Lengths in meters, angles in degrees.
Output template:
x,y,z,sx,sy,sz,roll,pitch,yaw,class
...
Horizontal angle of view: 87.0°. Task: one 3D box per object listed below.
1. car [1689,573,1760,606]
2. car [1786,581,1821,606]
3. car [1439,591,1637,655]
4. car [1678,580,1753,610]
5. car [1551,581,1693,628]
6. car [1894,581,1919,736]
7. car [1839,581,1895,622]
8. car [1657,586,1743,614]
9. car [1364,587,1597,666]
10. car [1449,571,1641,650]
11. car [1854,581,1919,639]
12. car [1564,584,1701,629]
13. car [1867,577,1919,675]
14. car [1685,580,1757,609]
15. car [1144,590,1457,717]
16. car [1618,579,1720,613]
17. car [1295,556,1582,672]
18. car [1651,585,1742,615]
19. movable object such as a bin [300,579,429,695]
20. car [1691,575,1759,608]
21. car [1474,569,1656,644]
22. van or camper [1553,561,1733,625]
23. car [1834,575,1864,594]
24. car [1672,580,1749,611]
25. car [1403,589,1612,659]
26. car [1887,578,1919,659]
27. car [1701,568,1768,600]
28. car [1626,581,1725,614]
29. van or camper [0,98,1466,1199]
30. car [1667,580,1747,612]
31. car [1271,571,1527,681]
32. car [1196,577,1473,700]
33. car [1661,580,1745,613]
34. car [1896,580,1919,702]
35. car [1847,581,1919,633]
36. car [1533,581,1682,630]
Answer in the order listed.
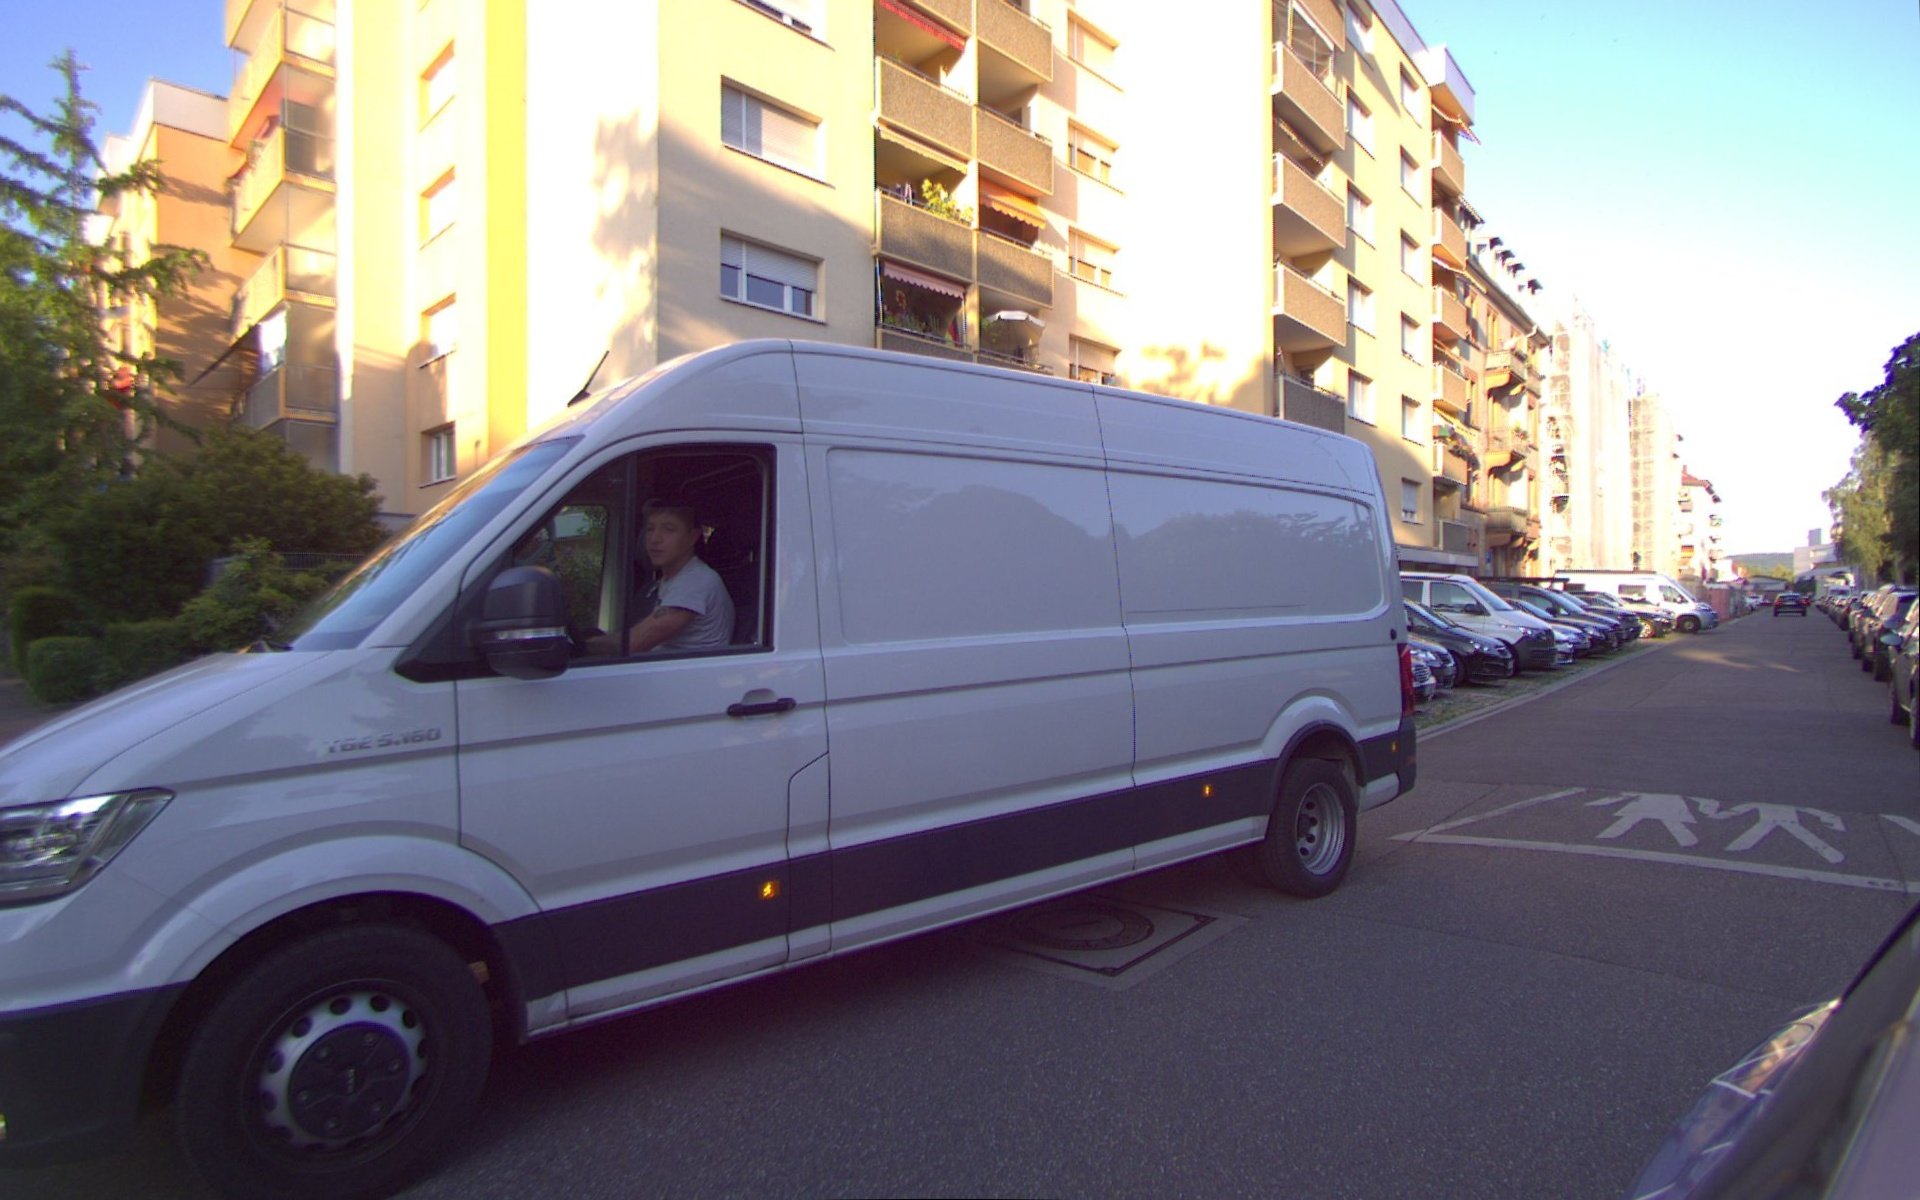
x,y,z,sx,sy,sz,roll,pitch,yaw,class
58.600,-0.806,77.612,4.174,2.472,1.812,1,1,42,car
59.497,-0.473,71.358,1.737,1.680,4.297,1,1,42,car
14.672,0.521,25.815,4.127,1.479,1.717,1,1,42,car
53.672,-0.375,71.911,4.174,2.023,1.812,1,1,42,car
25.150,0.117,38.528,4.346,1.680,1.717,1,1,42,car
10.588,0.564,10.172,1.527,1.503,3.461,1,1,39,car
36.651,0.041,40.937,1.527,1.605,2.912,1,1,39,car
45.538,-0.028,62.314,4.174,1.680,1.717,1,1,42,car
11.502,0.508,22.545,4.348,1.563,1.717,1,1,42,car
16.035,0.230,27.894,4.346,2.022,1.717,1,1,42,car
26.945,0.254,29.251,1.527,1.605,2.912,1,1,39,car
26.459,0.218,39.898,4.346,1.680,1.717,1,1,42,car
17.024,0.410,17.724,1.527,1.605,3.354,1,1,39,car
56.468,-0.433,75.102,4.174,2.023,1.812,1,1,42,car
4.878,0.659,14.744,3.979,1.571,1.804,1,1,38,car
36.543,-0.238,52.224,4.174,1.680,1.717,1,1,42,car
9.776,0.206,20.986,5.060,2.111,1.969,1,1,43,car
43.516,-0.027,59.839,4.174,1.680,1.717,1,1,42,car
-8.227,0.458,13.966,1.576,1.489,1.110,1,1,41,movable object such as a bin
60.402,-0.705,79.928,4.174,2.507,1.812,1,1,42,car
17.604,0.132,29.574,4.346,2.022,1.717,1,1,42,car
28.710,-0.322,42.710,6.080,2.521,2.164,1,1,42,van or camper
76.247,-1.310,86.832,1.795,1.605,2.912,1,1,39,car
52.025,-0.344,70.222,4.174,2.023,1.812,1,1,42,car
12.996,0.508,24.168,4.127,1.479,1.717,1,1,42,car
20.338,0.353,20.948,1.527,1.605,2.912,1,1,39,car
63.027,-1.324,82.394,4.174,2.507,1.812,1,1,42,car
38.353,-0.152,54.309,4.174,1.680,1.717,1,1,42,car
-0.294,0.205,4.896,6.745,2.623,2.094,-1,-2,-38,van or camper
50.069,-0.301,67.871,4.174,2.023,2.000,1,1,42,car
8.138,0.396,18.911,4.090,1.836,1.804,1,1,38,car
6.224,0.535,17.024,4.032,1.836,1.804,1,1,38,car
47.338,-0.240,64.530,4.174,2.024,1.717,1,1,42,car
14.210,0.529,14.090,1.527,1.605,3.085,1,1,39,car
29.689,0.192,32.618,1.527,1.605,2.912,1,1,39,car
23.374,0.151,36.619,4.346,1.680,1.717,1,1,42,car
